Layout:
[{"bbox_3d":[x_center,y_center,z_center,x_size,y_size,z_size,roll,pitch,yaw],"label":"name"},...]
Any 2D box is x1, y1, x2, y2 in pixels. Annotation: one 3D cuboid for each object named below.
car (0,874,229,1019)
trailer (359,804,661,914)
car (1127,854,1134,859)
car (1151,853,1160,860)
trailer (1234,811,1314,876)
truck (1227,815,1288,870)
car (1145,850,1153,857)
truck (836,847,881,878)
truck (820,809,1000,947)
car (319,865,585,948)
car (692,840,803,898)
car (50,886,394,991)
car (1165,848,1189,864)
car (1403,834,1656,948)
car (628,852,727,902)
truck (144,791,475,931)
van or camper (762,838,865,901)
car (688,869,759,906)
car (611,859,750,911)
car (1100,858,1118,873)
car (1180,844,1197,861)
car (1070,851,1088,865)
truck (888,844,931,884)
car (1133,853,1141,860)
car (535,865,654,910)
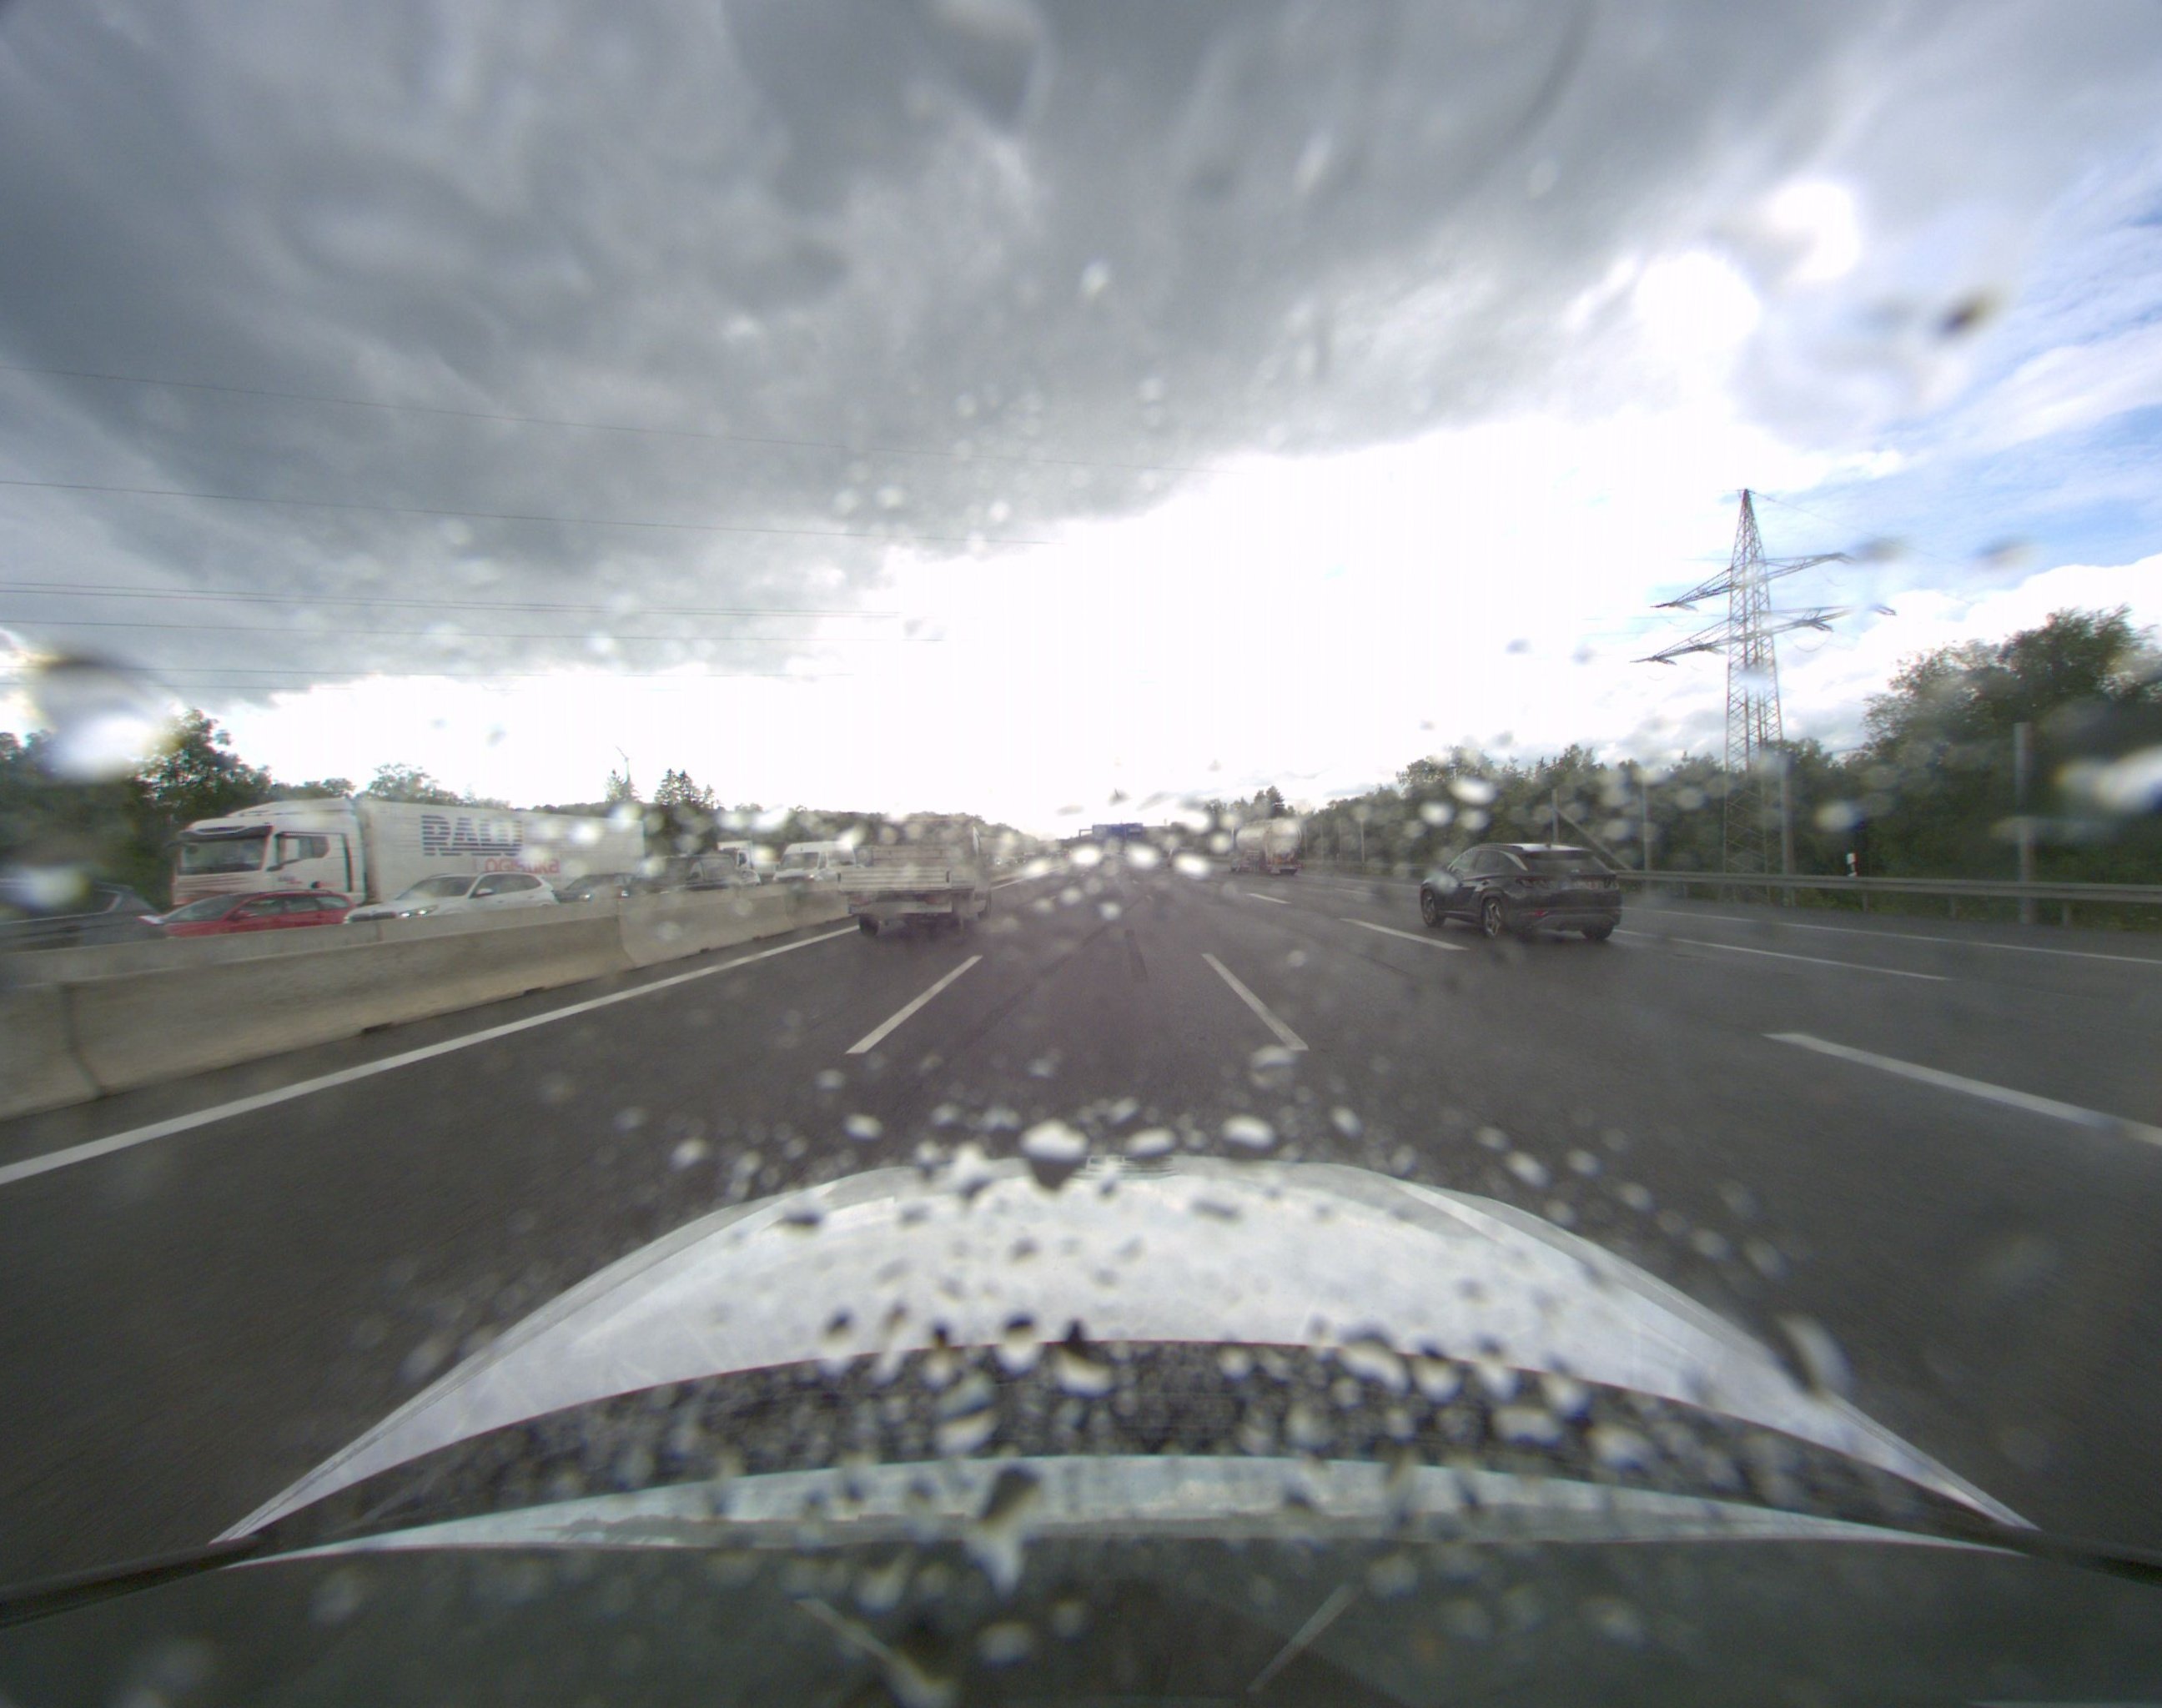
[{"bbox_3d":[-13.606,1.135,9.605,1.887,1.624,4.847,-1,0,2],"label":"car"},{"bbox_3d":[-20.992,0.120,31.495,3.013,3.433,11.781,-1,0,2],"label":"trailer"},{"bbox_3d":[15.097,0.727,249.477,1.861,1.728,4.002,-1,0,2],"label":"car"},{"bbox_3d":[18.527,0.594,203.734,1.986,1.750,4.498,-1,0,2],"label":"car"},{"bbox_3d":[13.720,-0.705,59.043,3.320,4.175,11.844,-1,0,2],"label":"trailer"},{"bbox_3d":[13.915,-0.864,64.973,3.320,4.080,8.275,-1,0,2],"label":"truck"},{"bbox_3d":[19.926,-0.148,238.916,2.037,1.699,4.003,-1,0,3],"label":"car"},{"bbox_3d":[-26.879,0.998,98.723,3.126,3.582,7.669,-1,0,2],"label":"truck"},{"bbox_3d":[-3.385,0.382,18.039,2.345,2.408,7.358,-1,0,0],"label":"truck"},{"bbox_3d":[-13.595,1.043,18.142,1.843,1.477,5.083,-1,0,2],"label":"car"},{"bbox_3d":[-24.875,1.010,61.643,3.190,3.947,11.662,-1,0,2],"label":"car"},{"bbox_3d":[-17.742,1.637,17.319,1.887,1.677,5.003,-1,0,2],"label":"car"},{"bbox_3d":[10.571,0.218,90.082,2.092,1.699,3.998,-1,0,-2],"label":"car"},{"bbox_3d":[7.804,0.531,14.880,2.037,1.699,5.010,1,1,2],"label":"car"},{"bbox_3d":[-17.371,0.940,35.310,2.200,2.000,4.002,-1,0,2],"label":"car"},{"bbox_3d":[-21.286,0.155,23.168,3.032,3.406,6.531,-1,0,2],"label":"truck"},{"bbox_3d":[-12.630,0.689,39.145,2.170,2.705,7.524,-1,0,2],"label":"van or camper"},{"bbox_3d":[-20.516,1.900,47.001,1.986,1.915,4.444,-1,0,2],"label":"car"},{"bbox_3d":[-13.105,0.957,27.089,1.873,1.477,5.174,-1,0,2],"label":"car"},{"bbox_3d":[3.472,1.438,100.097,2.037,1.699,4.003,-1,0,3],"label":"car"},{"bbox_3d":[16.041,-0.248,121.704,2.037,2.498,4.002,-1,0,2],"label":"car"},{"bbox_3d":[-0.234,0.470,104.106,2.037,1.699,4.002,-1,0,2],"label":"car"},{"bbox_3d":[-15.905,0.896,76.015,2.175,3.519,7.494,-1,0,2],"label":"truck"},{"bbox_3d":[14.160,0.734,206.569,2.037,1.699,4.003,-1,0,3],"label":"car"},{"bbox_3d":[-17.287,1.138,29.175,1.745,1.410,4.002,-1,0,2],"label":"car"}]
